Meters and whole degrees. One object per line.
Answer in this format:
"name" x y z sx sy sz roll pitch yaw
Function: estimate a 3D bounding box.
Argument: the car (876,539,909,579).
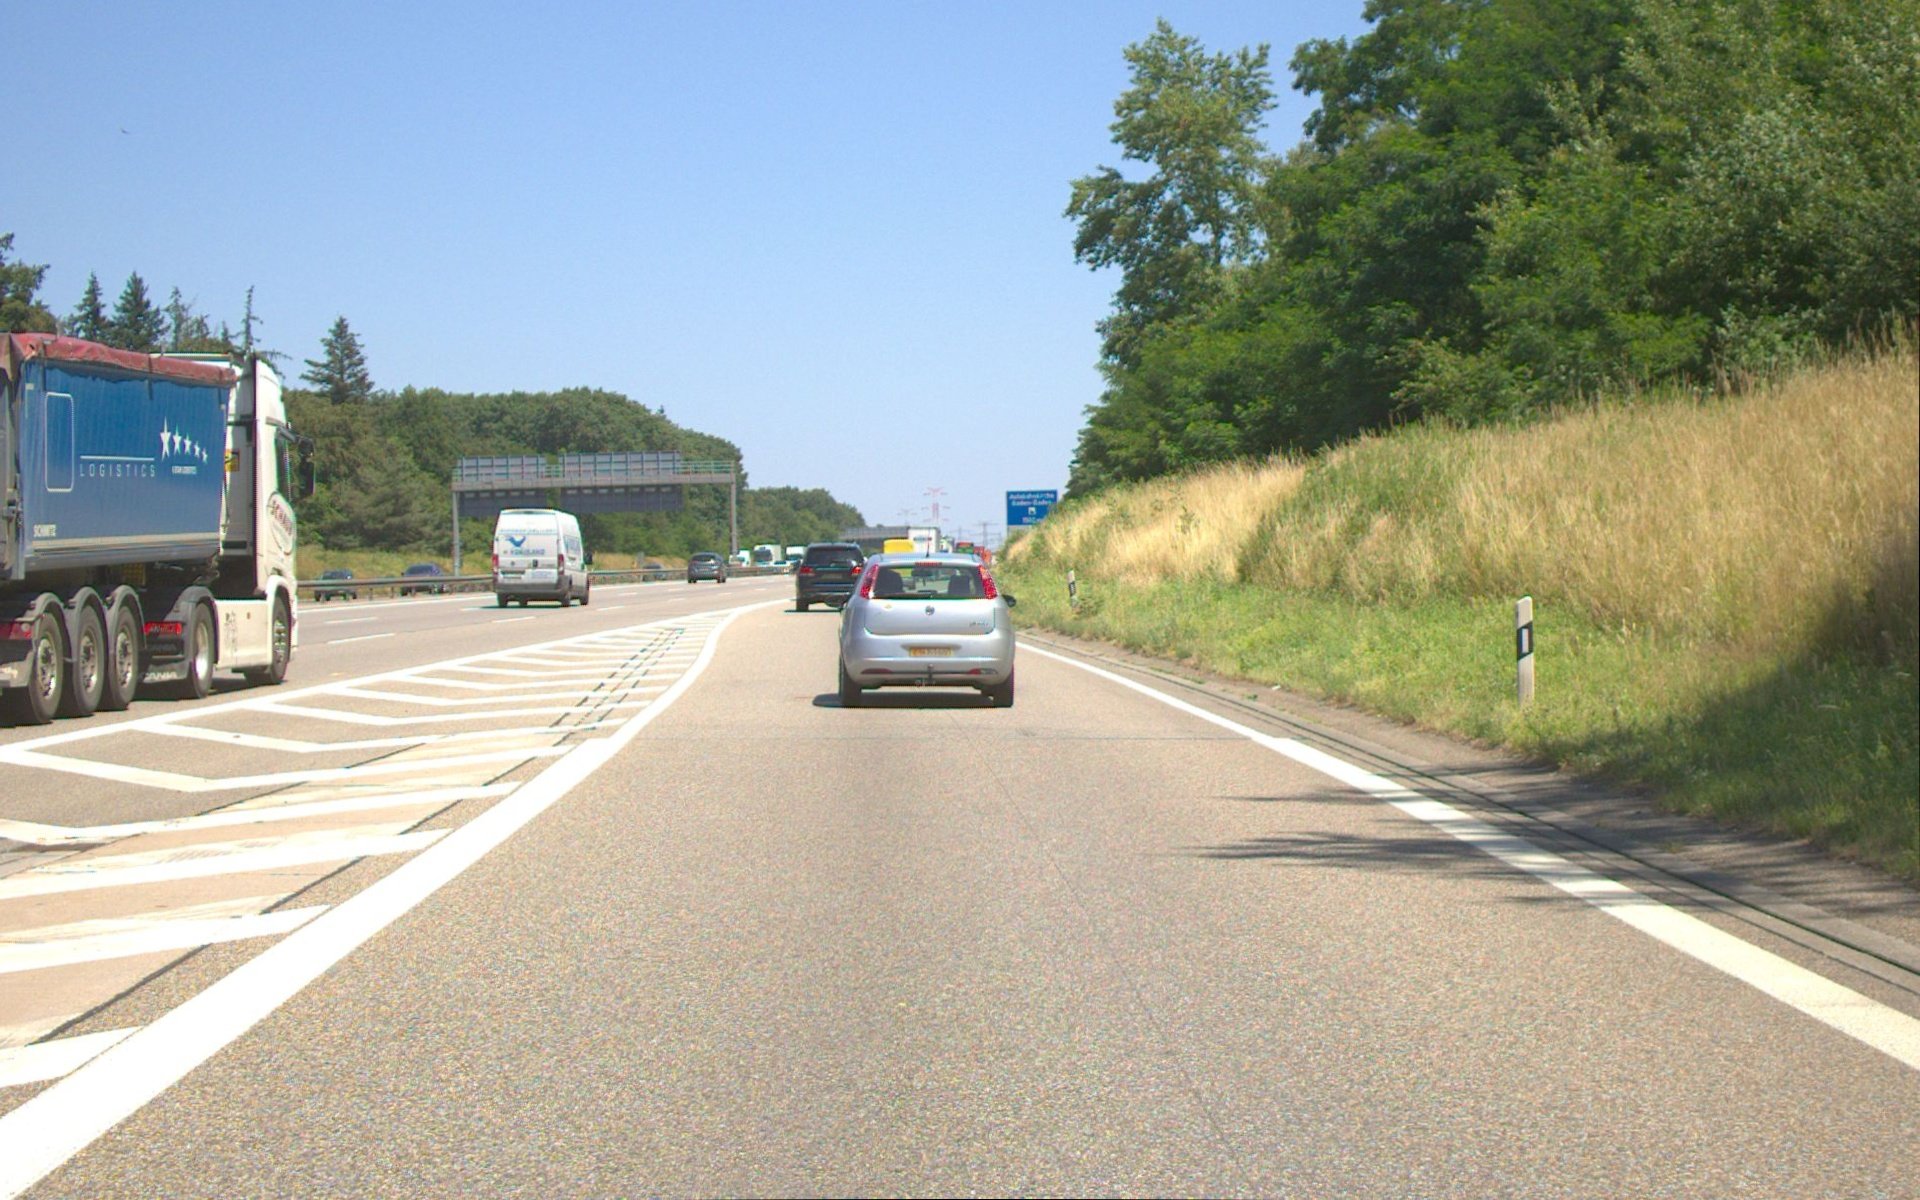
"car" -3.480 -2.122 178.056 1.611 2.007 4.000 0 1 0

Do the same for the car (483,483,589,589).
"car" -12.177 -1.829 99.076 2.260 2.940 6.114 0 1 0

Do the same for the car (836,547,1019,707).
"car" -0.332 0.225 34.208 1.719 1.486 3.737 0 1 -1

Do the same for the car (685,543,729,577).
"car" -13.824 -2.222 188.074 2.157 1.808 4.860 0 1 -1

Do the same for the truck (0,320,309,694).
"truck" -9.058 -0.989 37.593 2.684 3.746 5.944 -1 1 0

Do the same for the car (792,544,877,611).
"car" -3.213 -0.583 88.898 1.832 1.666 4.000 1 0 3

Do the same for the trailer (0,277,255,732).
"trailer" -9.086 -0.859 32.859 2.737 3.746 9.109 -1 1 0
